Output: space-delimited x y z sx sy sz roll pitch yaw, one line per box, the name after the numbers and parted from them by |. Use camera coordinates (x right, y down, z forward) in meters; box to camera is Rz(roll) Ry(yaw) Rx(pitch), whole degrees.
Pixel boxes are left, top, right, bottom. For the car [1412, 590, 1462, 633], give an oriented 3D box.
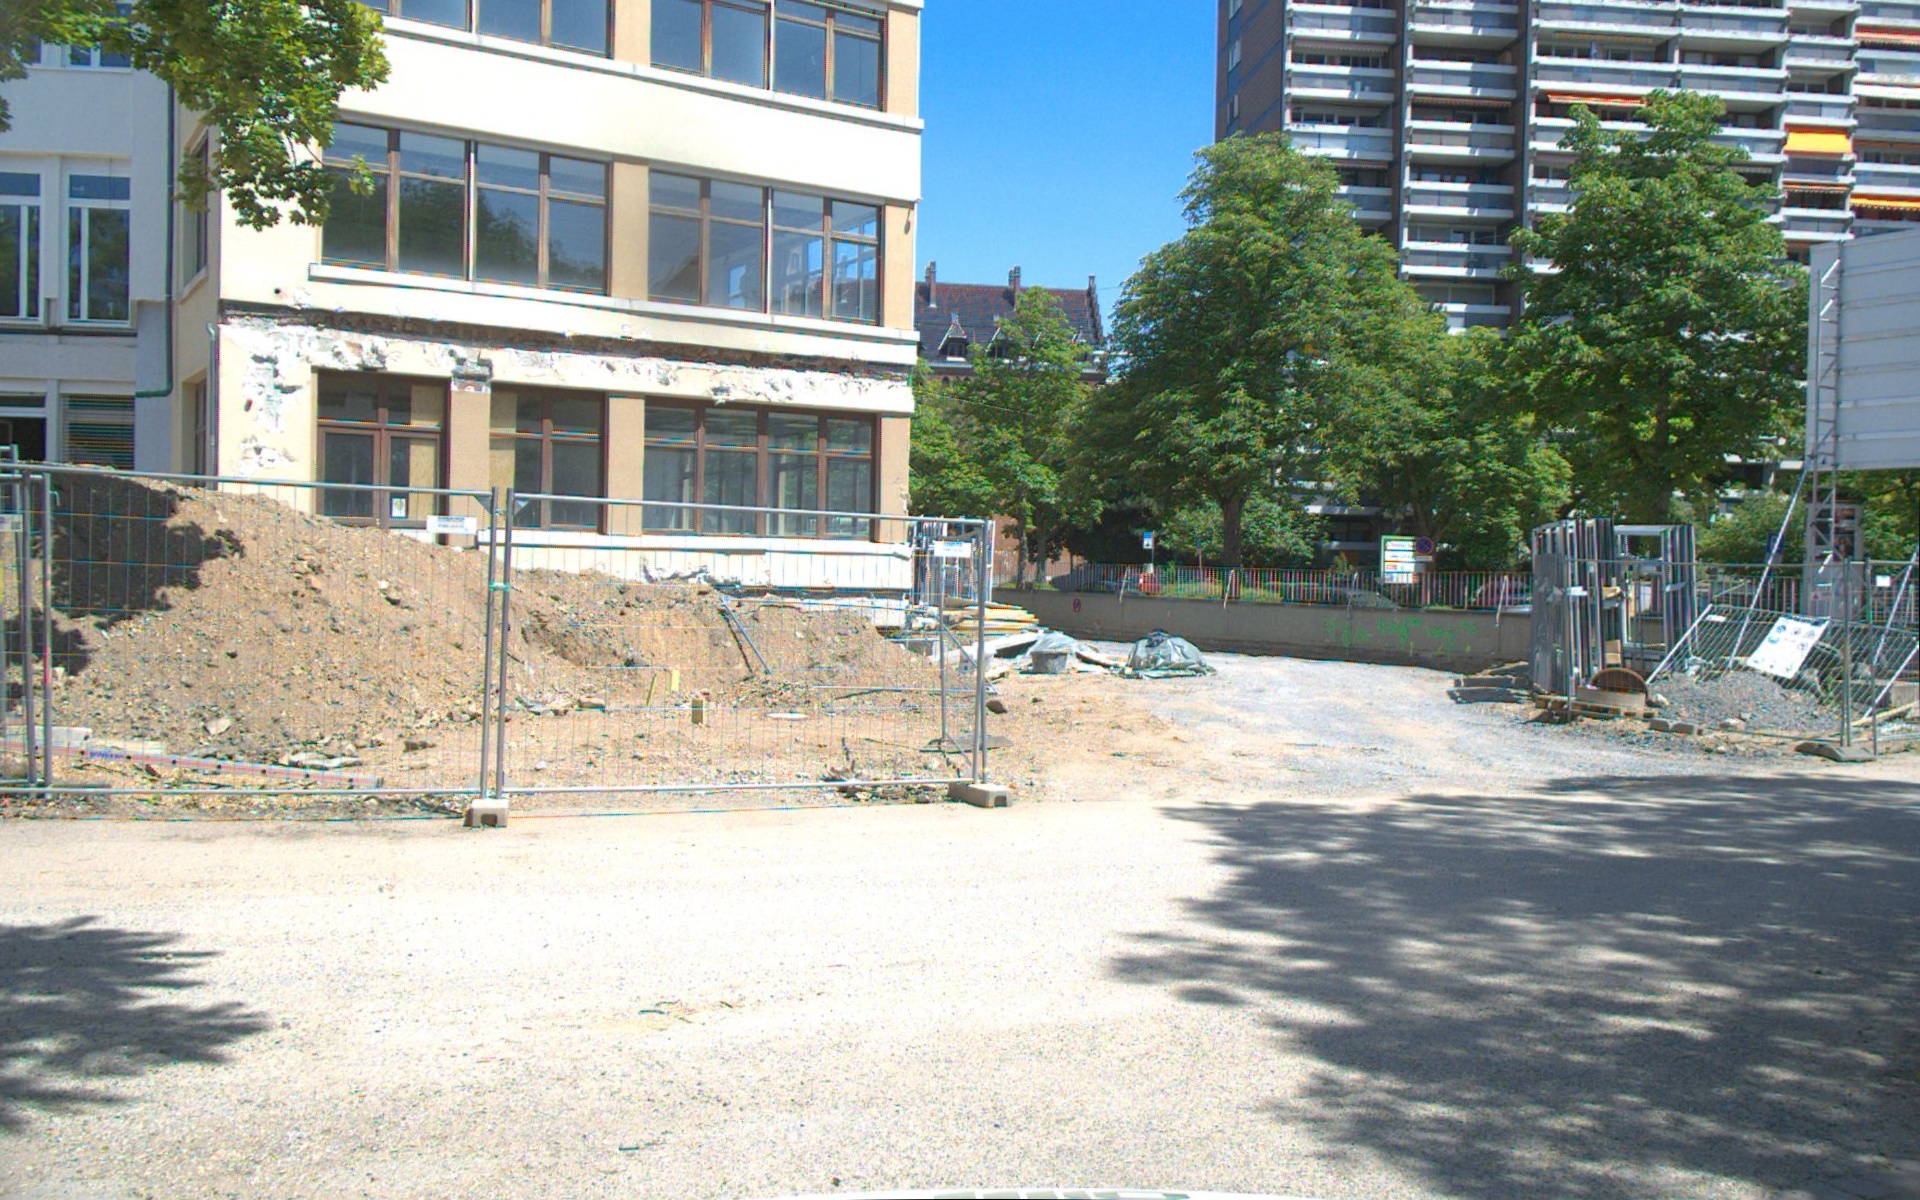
16.614 0.378 57.689 1.598 1.411 3.680 1 1 15 | car

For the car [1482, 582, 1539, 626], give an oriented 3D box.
18.659 0.106 56.142 1.598 1.411 3.680 1 1 15 | car

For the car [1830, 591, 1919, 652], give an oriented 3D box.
24.050 0.534 42.850 1.598 1.489 3.681 1 1 10 | car

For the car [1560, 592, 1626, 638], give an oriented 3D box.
20.319 0.457 53.219 1.598 1.411 3.680 1 1 15 | car

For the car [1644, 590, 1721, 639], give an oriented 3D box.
21.894 0.404 50.235 1.598 1.411 3.680 1 1 15 | car
